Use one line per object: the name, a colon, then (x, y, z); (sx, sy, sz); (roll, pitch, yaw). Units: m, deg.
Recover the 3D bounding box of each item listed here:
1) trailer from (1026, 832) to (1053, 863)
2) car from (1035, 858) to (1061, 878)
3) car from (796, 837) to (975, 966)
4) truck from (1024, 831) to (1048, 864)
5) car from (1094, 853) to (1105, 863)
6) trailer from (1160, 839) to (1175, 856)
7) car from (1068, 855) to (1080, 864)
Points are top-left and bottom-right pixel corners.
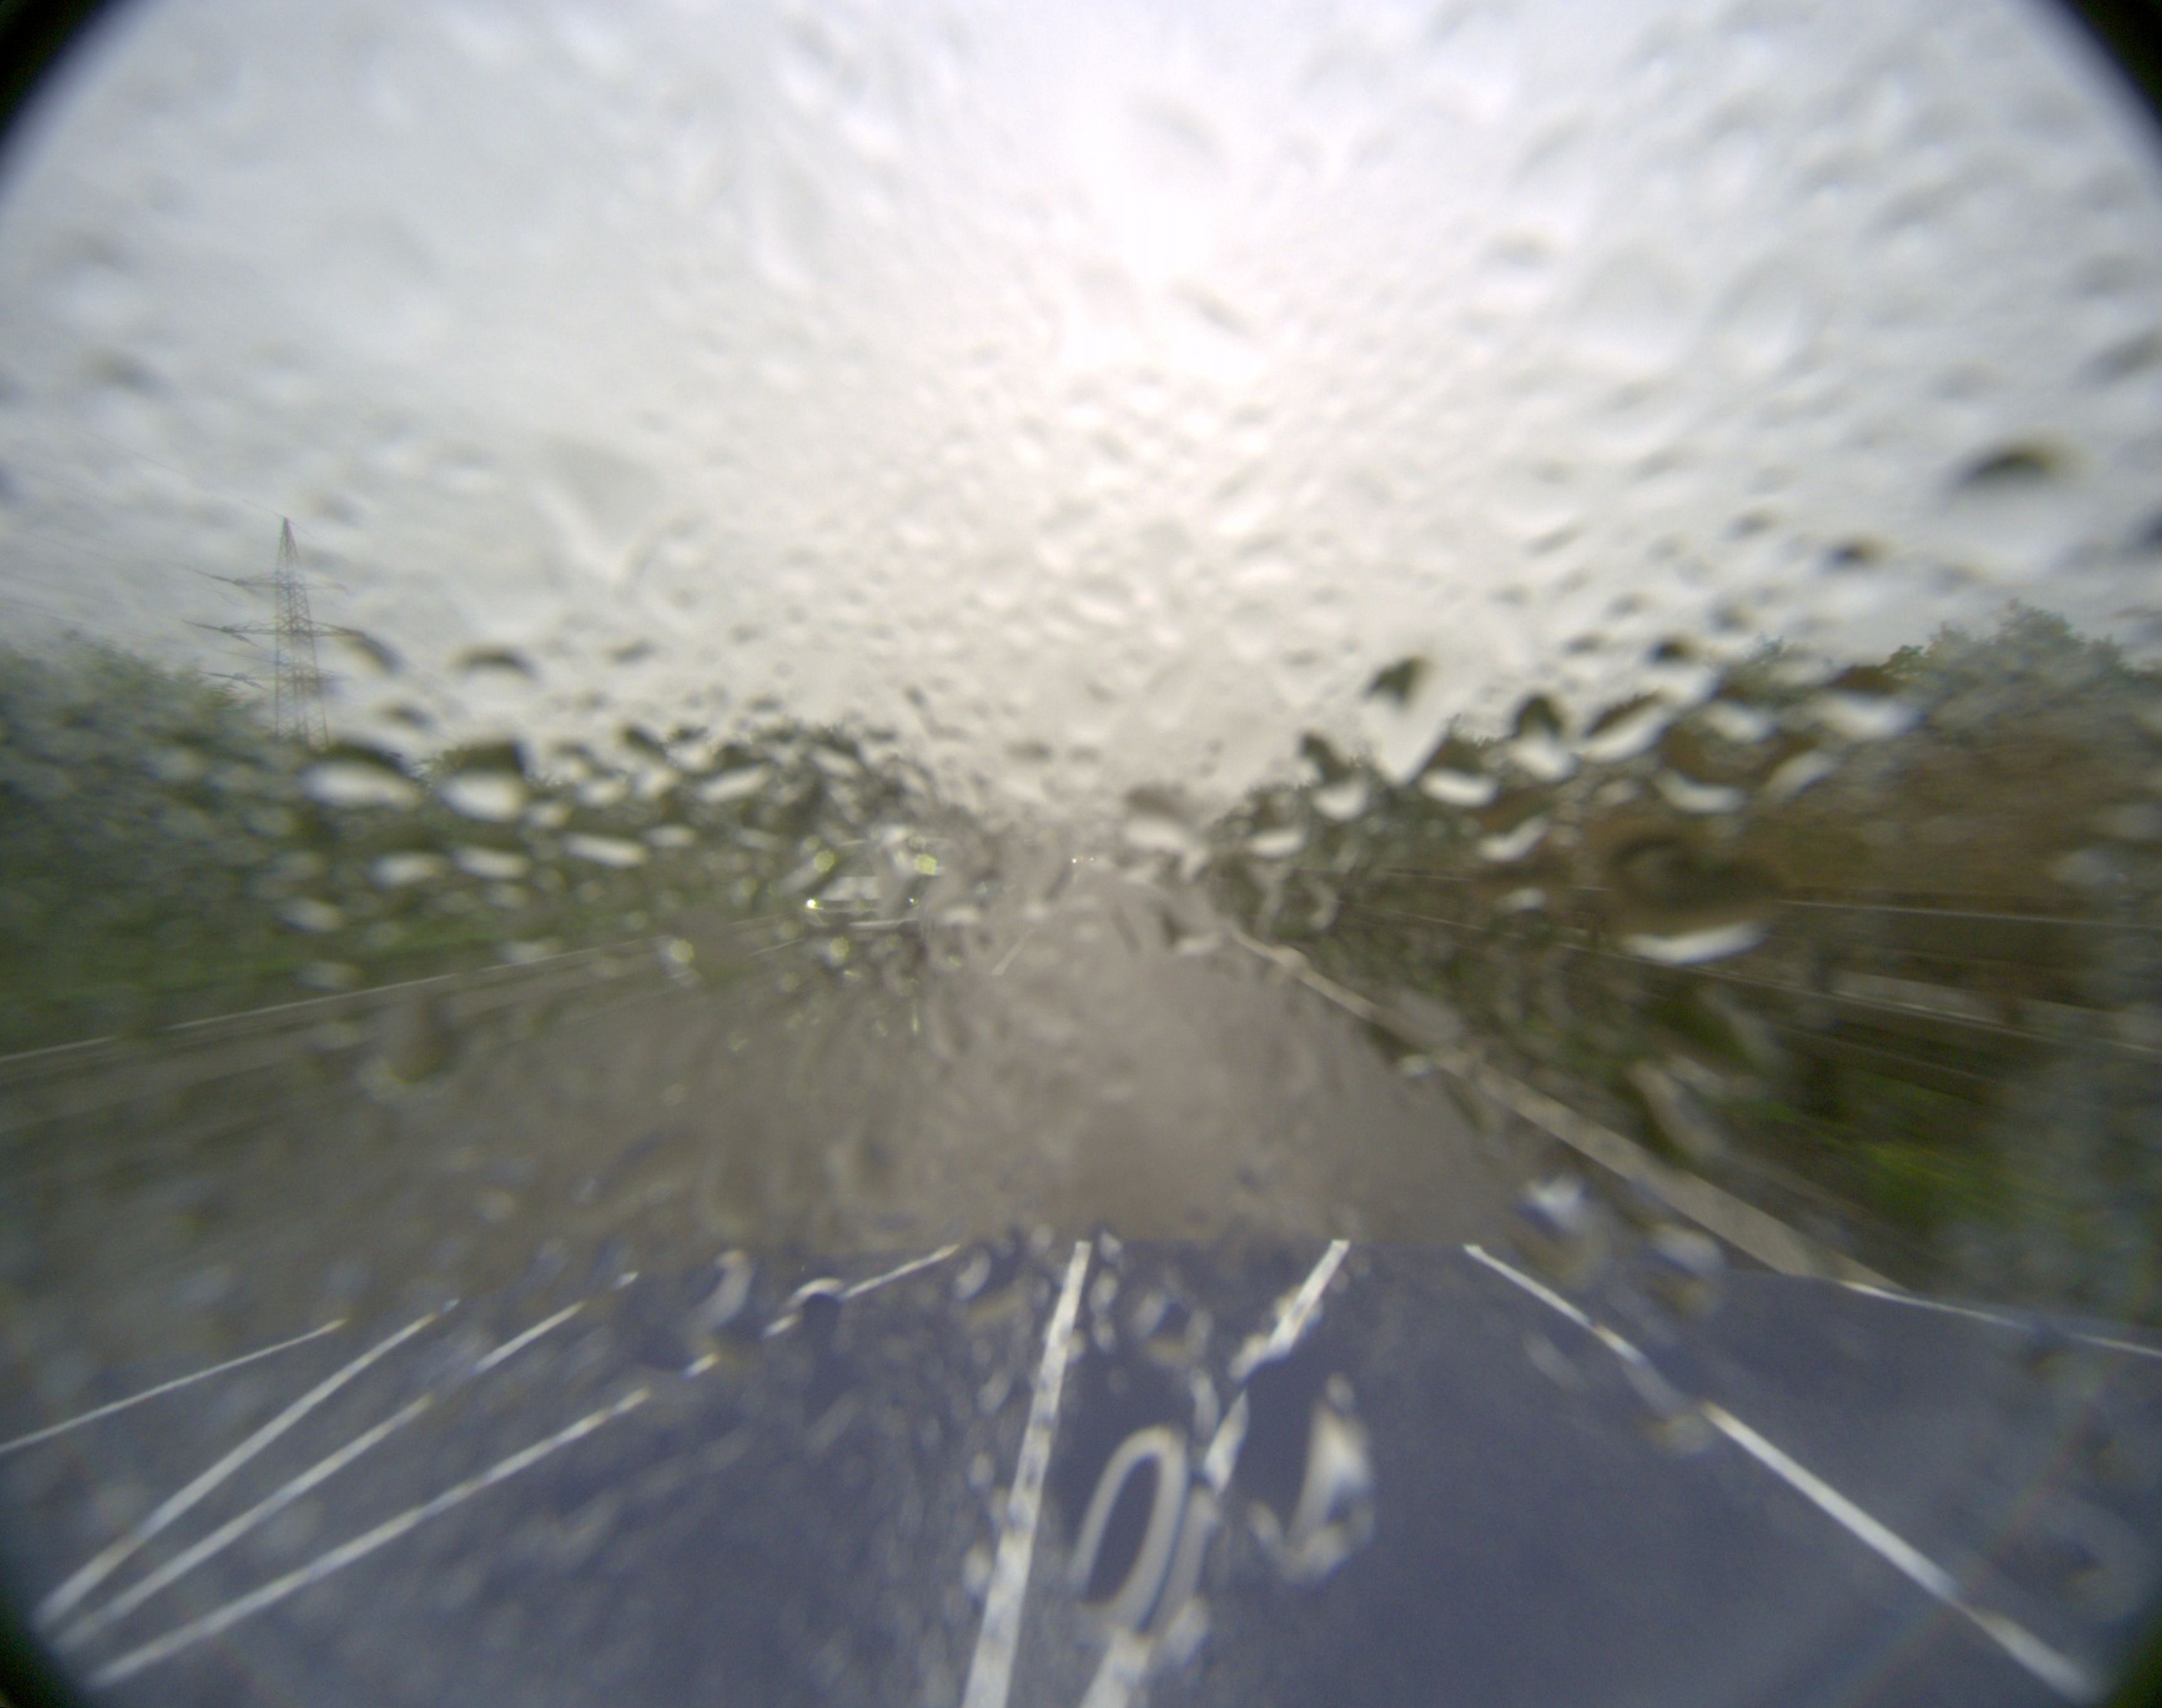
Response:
trailer: (-5.669, -0.880, 106.547); (2.618, 4.064, 13.791); (-2, 0, 1)
car: (-2.567, 1.075, 59.922); (1.769, 1.448, 3.959); (-2, 0, 1)
car: (-3.280, 0.704, 13.914); (1.892, 1.873, 5.009); (-2, 0, 0)
truck: (-5.844, -0.843, 99.477); (2.618, 4.064, 5.238); (-2, 0, 1)
car: (2.900, 0.601, 118.826); (1.769, 1.448, 3.959); (-2, 0, 1)
trailer: (21.835, -1.651, 192.626); (2.704, 4.206, 8.489); (-3, 0, 1)
car: (-1.157, 0.933, 124.863); (1.769, 1.448, 3.959); (-2, 0, 1)
